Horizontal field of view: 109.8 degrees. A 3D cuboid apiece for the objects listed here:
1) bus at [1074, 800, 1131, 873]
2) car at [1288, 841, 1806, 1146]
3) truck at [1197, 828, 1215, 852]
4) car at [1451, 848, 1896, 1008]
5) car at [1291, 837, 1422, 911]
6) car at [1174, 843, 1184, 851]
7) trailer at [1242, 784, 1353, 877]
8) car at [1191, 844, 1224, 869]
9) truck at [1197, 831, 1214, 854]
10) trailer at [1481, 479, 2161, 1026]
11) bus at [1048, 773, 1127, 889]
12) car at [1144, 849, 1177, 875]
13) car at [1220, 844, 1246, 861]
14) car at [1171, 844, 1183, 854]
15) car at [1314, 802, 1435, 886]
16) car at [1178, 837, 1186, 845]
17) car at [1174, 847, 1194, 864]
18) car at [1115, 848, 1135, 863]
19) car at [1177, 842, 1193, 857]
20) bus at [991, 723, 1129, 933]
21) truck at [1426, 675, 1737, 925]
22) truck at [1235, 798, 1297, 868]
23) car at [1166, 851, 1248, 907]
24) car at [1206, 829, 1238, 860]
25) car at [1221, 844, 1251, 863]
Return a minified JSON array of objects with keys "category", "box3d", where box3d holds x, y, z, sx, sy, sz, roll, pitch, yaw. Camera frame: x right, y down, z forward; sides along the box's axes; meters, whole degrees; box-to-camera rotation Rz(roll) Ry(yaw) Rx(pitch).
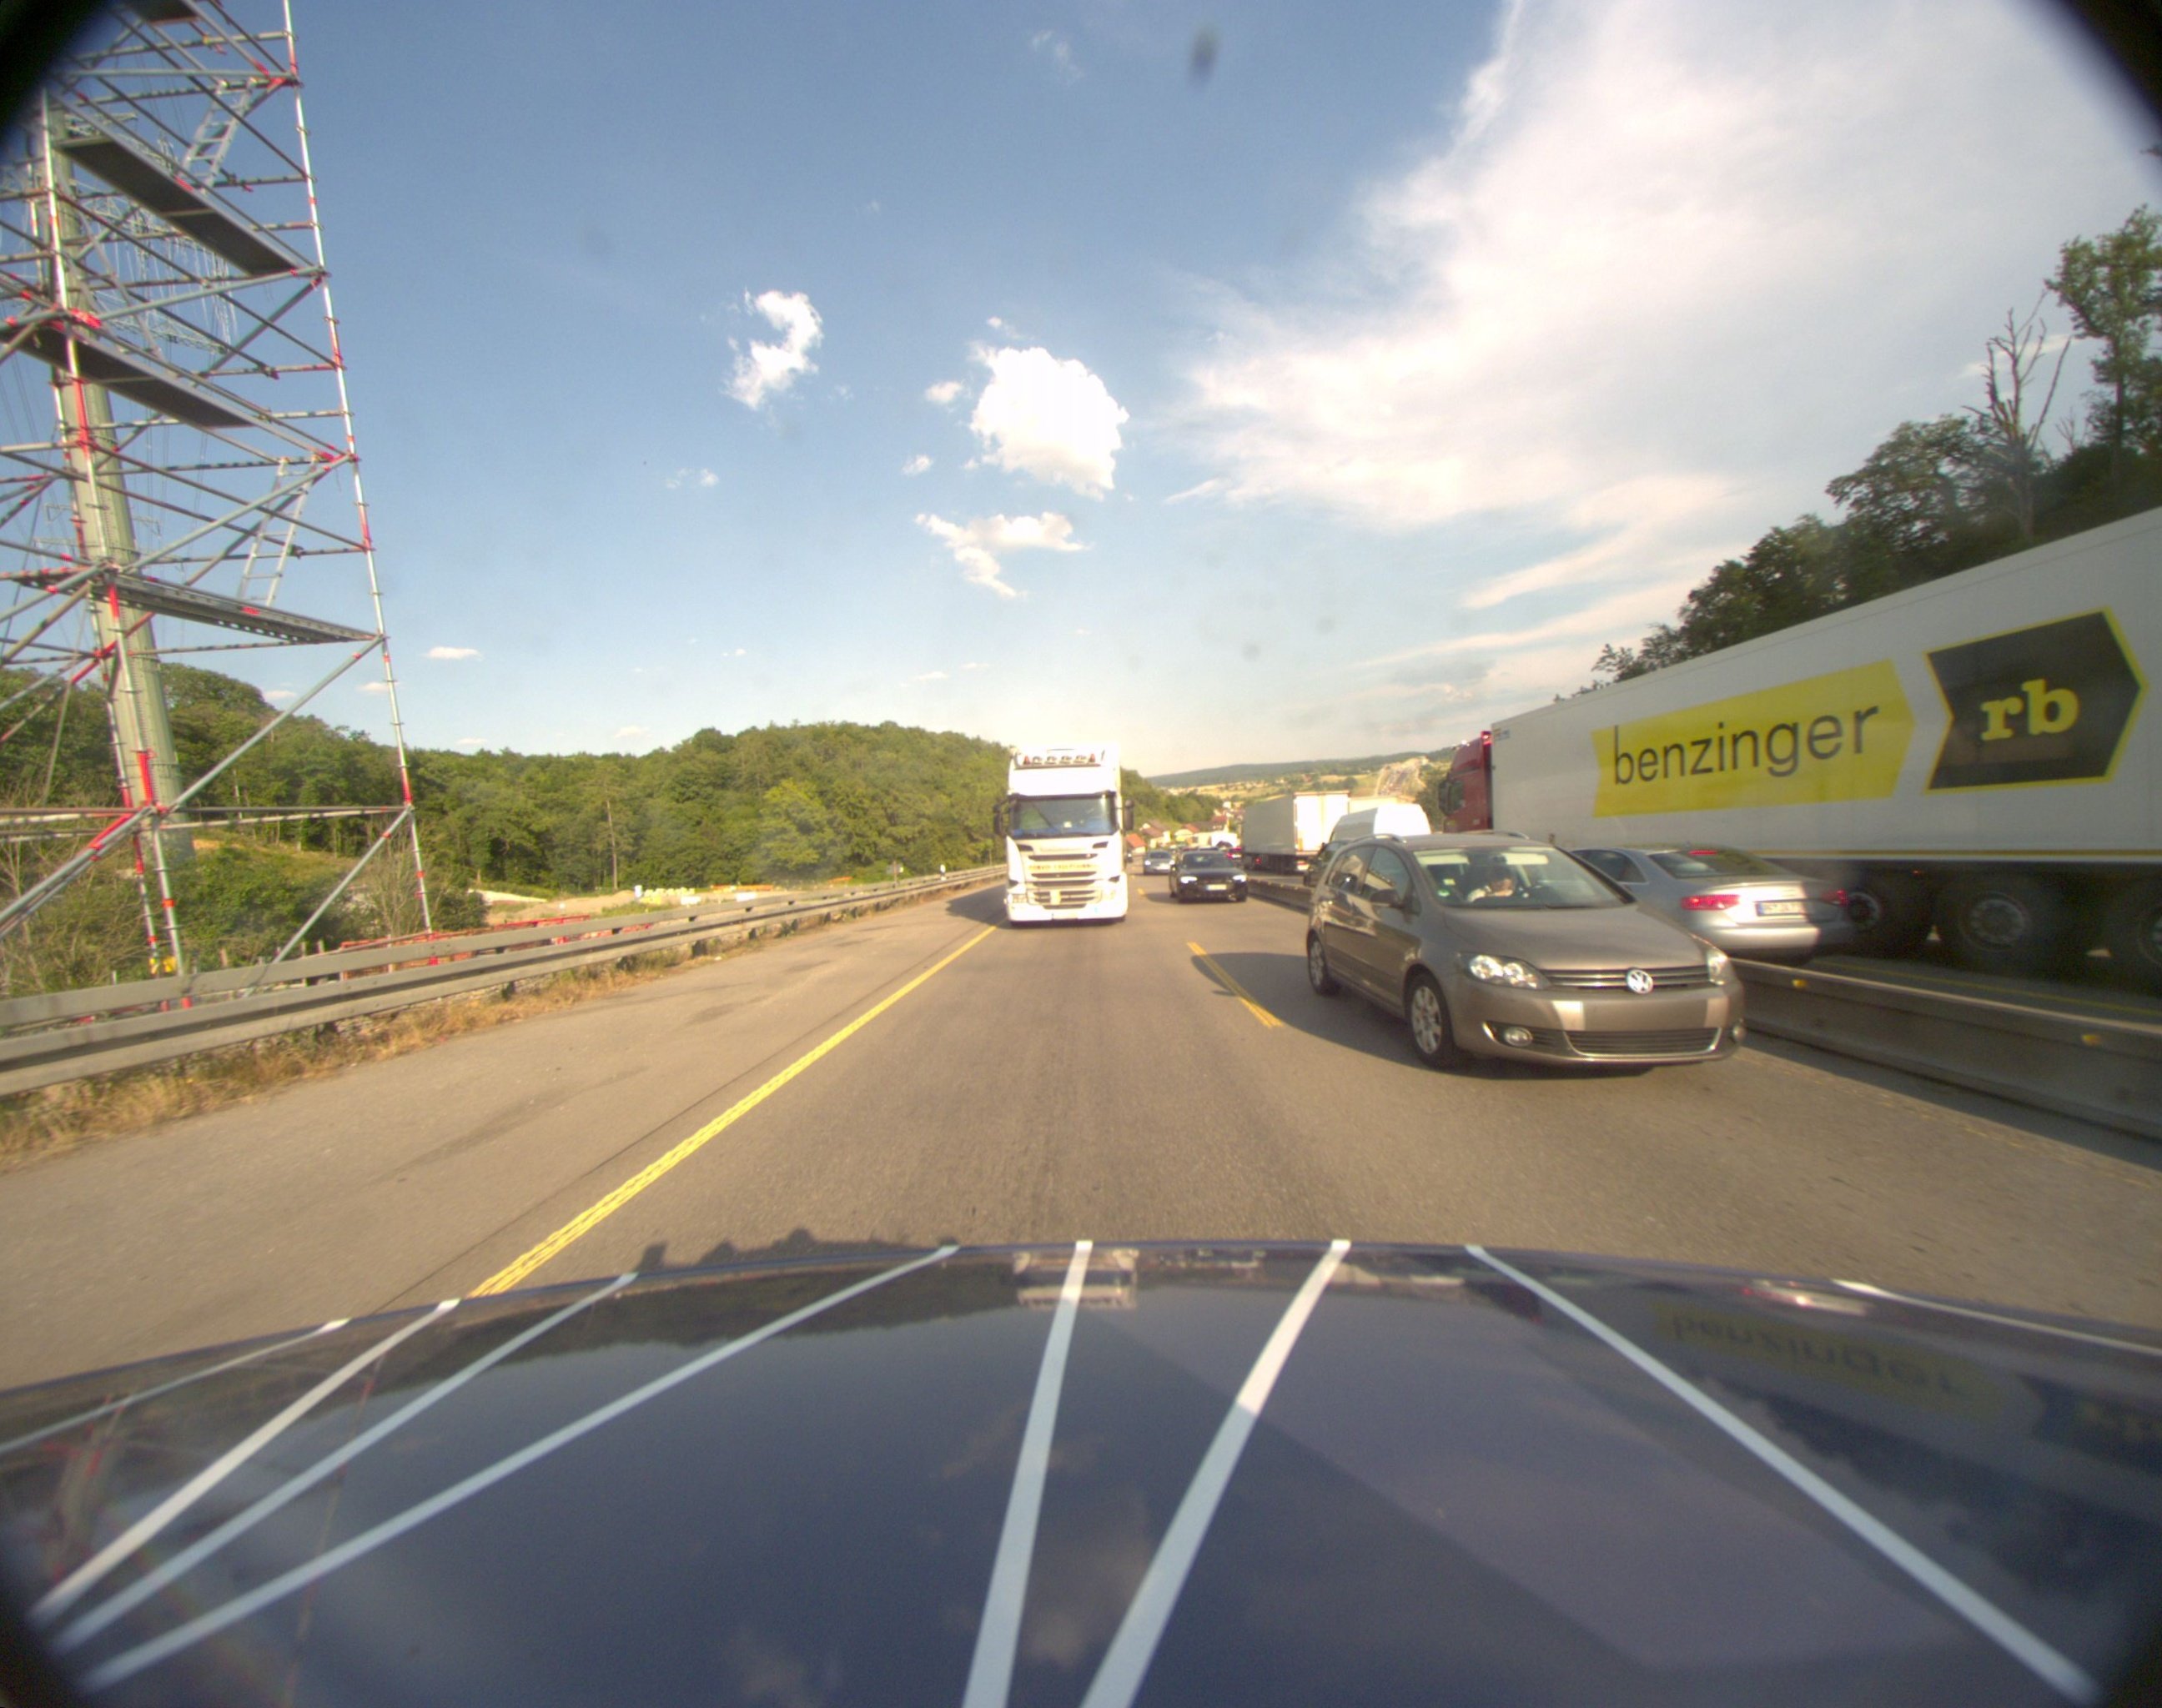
[{"category":"bus","box3d":[1.734,-1.144,53.239,2.983,4.553,10.907,-2,0,6]},{"category":"car","box3d":[3.024,0.716,6.070,1.688,1.565,4.099,-2,1,2]},{"category":"truck","box3d":[21.966,-2.498,134.107,2.712,4.065,14.159,-1,1,8]},{"category":"car","box3d":[6.711,0.673,9.520,1.735,1.369,4.890,-4,1,1]},{"category":"car","box3d":[6.946,0.437,19.742,1.756,1.648,4.863,-2,0,2]},{"category":"car","box3d":[19.752,-1.421,152.766,1.821,1.569,4.757,0,0,6]},{"category":"trailer","box3d":[11.474,-1.198,42.003,2.727,4.194,13.749,-2,1,3]},{"category":"car","box3d":[8.618,0.137,52.032,1.873,1.579,4.805,-3,0,5]},{"category":"truck","box3d":[19.652,-1.829,119.909,2.451,3.443,7.622,-1,1,10]},{"category":"trailer","box3d":[9.976,-0.880,9.515,2.773,4.309,13.879,-2,1,1]},{"category":"bus","box3d":[0.547,-0.950,35.491,2.984,4.553,9.969,-2,0,4]},{"category":"car","box3d":[4.644,0.429,44.771,1.698,1.390,4.001,-3,0,3]},{"category":"car","box3d":[13.753,-0.183,69.019,1.752,1.414,4.611,-3,1,5]},{"category":"car","box3d":[15.891,-0.809,126.312,1.821,1.569,4.757,0,0,6]},{"category":"car","box3d":[10.824,-0.315,28.715,2.026,2.674,6.950,-3,0,2]},{"category":"car","box3d":[28.076,-3.660,211.309,1.821,1.988,4.757,0,0,6]},{"category":"car","box3d":[10.544,0.163,77.762,1.891,1.559,4.458,-3,0,8]},{"category":"car","box3d":[5.117,0.138,88.923,1.998,1.630,3.999,-2,1,0]},{"category":"car","box3d":[13.347,-0.531,97.638,1.808,1.761,5.455,-2,-1,6]},{"category":"bus","box3d":[-0.057,-0.610,20.595,2.634,4.077,11.314,-1,1,4]},{"category":"truck","box3d":[10.086,-0.973,16.228,2.752,4.275,5.933,-2,1,1]},{"category":"truck","box3d":[11.802,-1.301,48.966,2.719,4.194,5.682,-2,1,3]},{"category":"car","box3d":[3.568,0.648,22.125,1.867,1.391,4.000,-1,1,2]},{"category":"car","box3d":[14.360,-1.006,77.848,2.339,2.901,7.633,-1,1,4]},{"category":"car","box3d":[12.223,-0.048,60.264,1.747,1.452,4.714,-2,0,5]}]
